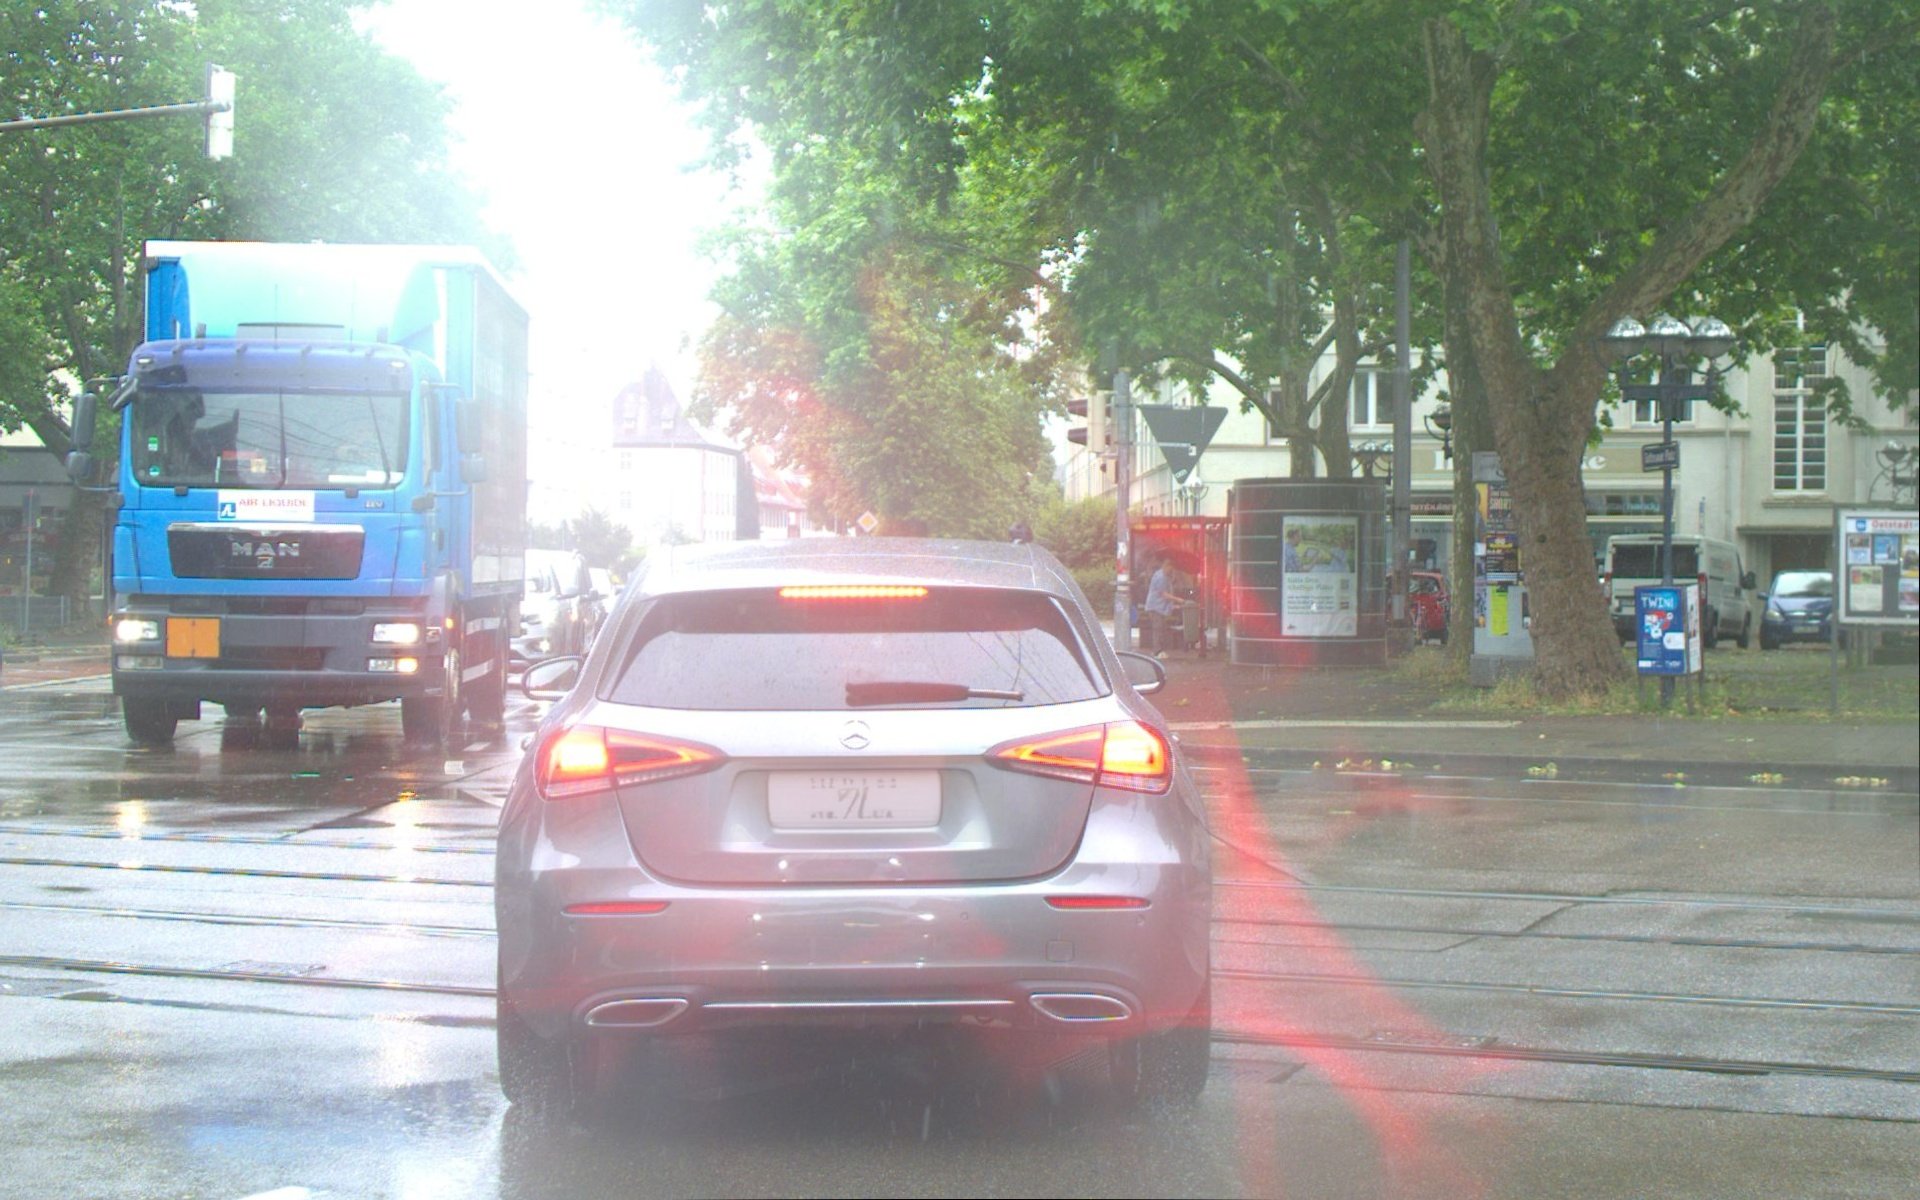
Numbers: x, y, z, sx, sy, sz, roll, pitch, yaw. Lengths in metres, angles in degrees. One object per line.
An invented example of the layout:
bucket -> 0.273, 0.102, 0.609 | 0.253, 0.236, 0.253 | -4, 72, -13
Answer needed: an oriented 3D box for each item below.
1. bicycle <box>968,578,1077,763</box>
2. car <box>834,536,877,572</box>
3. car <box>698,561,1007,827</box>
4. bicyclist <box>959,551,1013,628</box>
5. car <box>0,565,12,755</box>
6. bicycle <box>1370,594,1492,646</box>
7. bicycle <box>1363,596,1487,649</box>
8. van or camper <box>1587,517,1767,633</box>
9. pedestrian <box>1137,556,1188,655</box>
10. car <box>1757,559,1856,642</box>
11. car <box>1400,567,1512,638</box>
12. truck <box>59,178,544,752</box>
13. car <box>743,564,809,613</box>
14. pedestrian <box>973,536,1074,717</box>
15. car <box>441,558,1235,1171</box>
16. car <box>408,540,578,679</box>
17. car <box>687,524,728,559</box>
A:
bicycle -> 0.520, 0.523, 27.351 | 0.749, 1.372, 2.707 | -1, 1, 3
car -> -5.420, -2.397, 178.921 | 2.046, 1.830, 4.792 | 0, 0, 0
car -> -0.689, 0.468, 20.009 | 1.607, 1.368, 4.001 | 0, 1, -4
bicyclist -> 0.637, -0.246, 84.182 | 0.938, 1.862, 1.143 | 0, -1, -22
car -> -8.558, 0.514, 26.246 | 1.726, 1.541, 4.341 | 0, 1, -4
bicycle -> 8.984, 0.385, 65.584 | 2.249, 0.965, 0.584 | 0, 1, 20
bicycle -> 8.771, 0.416, 64.923 | 2.254, 0.965, 0.534 | 0, 1, 20
van or camper -> 14.383, -0.496, 68.724 | 2.399, 2.224, 5.423 | 0, 0, 24
pedestrian -> 3.446, 0.091, 58.526 | 0.716, 1.663, 0.665 | 0, 0, -11
car -> 16.605, 0.022, 67.328 | 1.681, 1.570, 3.733 | 0, 0, 17
car -> 10.096, 0.069, 69.850 | 1.584, 1.332, 3.258 | 0, -2, 21
truck -> -5.239, -1.012, 29.275 | 2.845, 4.011, 10.318 | 0, 1, -4
car -> -5.924, -0.373, 110.400 | 1.993, 1.568, 4.001 | 0, 0, -5
pedestrian -> 0.506, 0.200, 27.043 | 0.744, 1.393, 1.047 | -1, 1, 3
car -> -0.389, 0.594, 9.674 | 1.791, 1.368, 3.507 | 2, 1, -4
car -> -5.639, 0.092, 41.920 | 1.742, 1.598, 4.001 | 0, 1, -3
car -> -13.651, -3.145, 185.937 | 1.889, 1.830, 4.000 | 0, 0, 0
